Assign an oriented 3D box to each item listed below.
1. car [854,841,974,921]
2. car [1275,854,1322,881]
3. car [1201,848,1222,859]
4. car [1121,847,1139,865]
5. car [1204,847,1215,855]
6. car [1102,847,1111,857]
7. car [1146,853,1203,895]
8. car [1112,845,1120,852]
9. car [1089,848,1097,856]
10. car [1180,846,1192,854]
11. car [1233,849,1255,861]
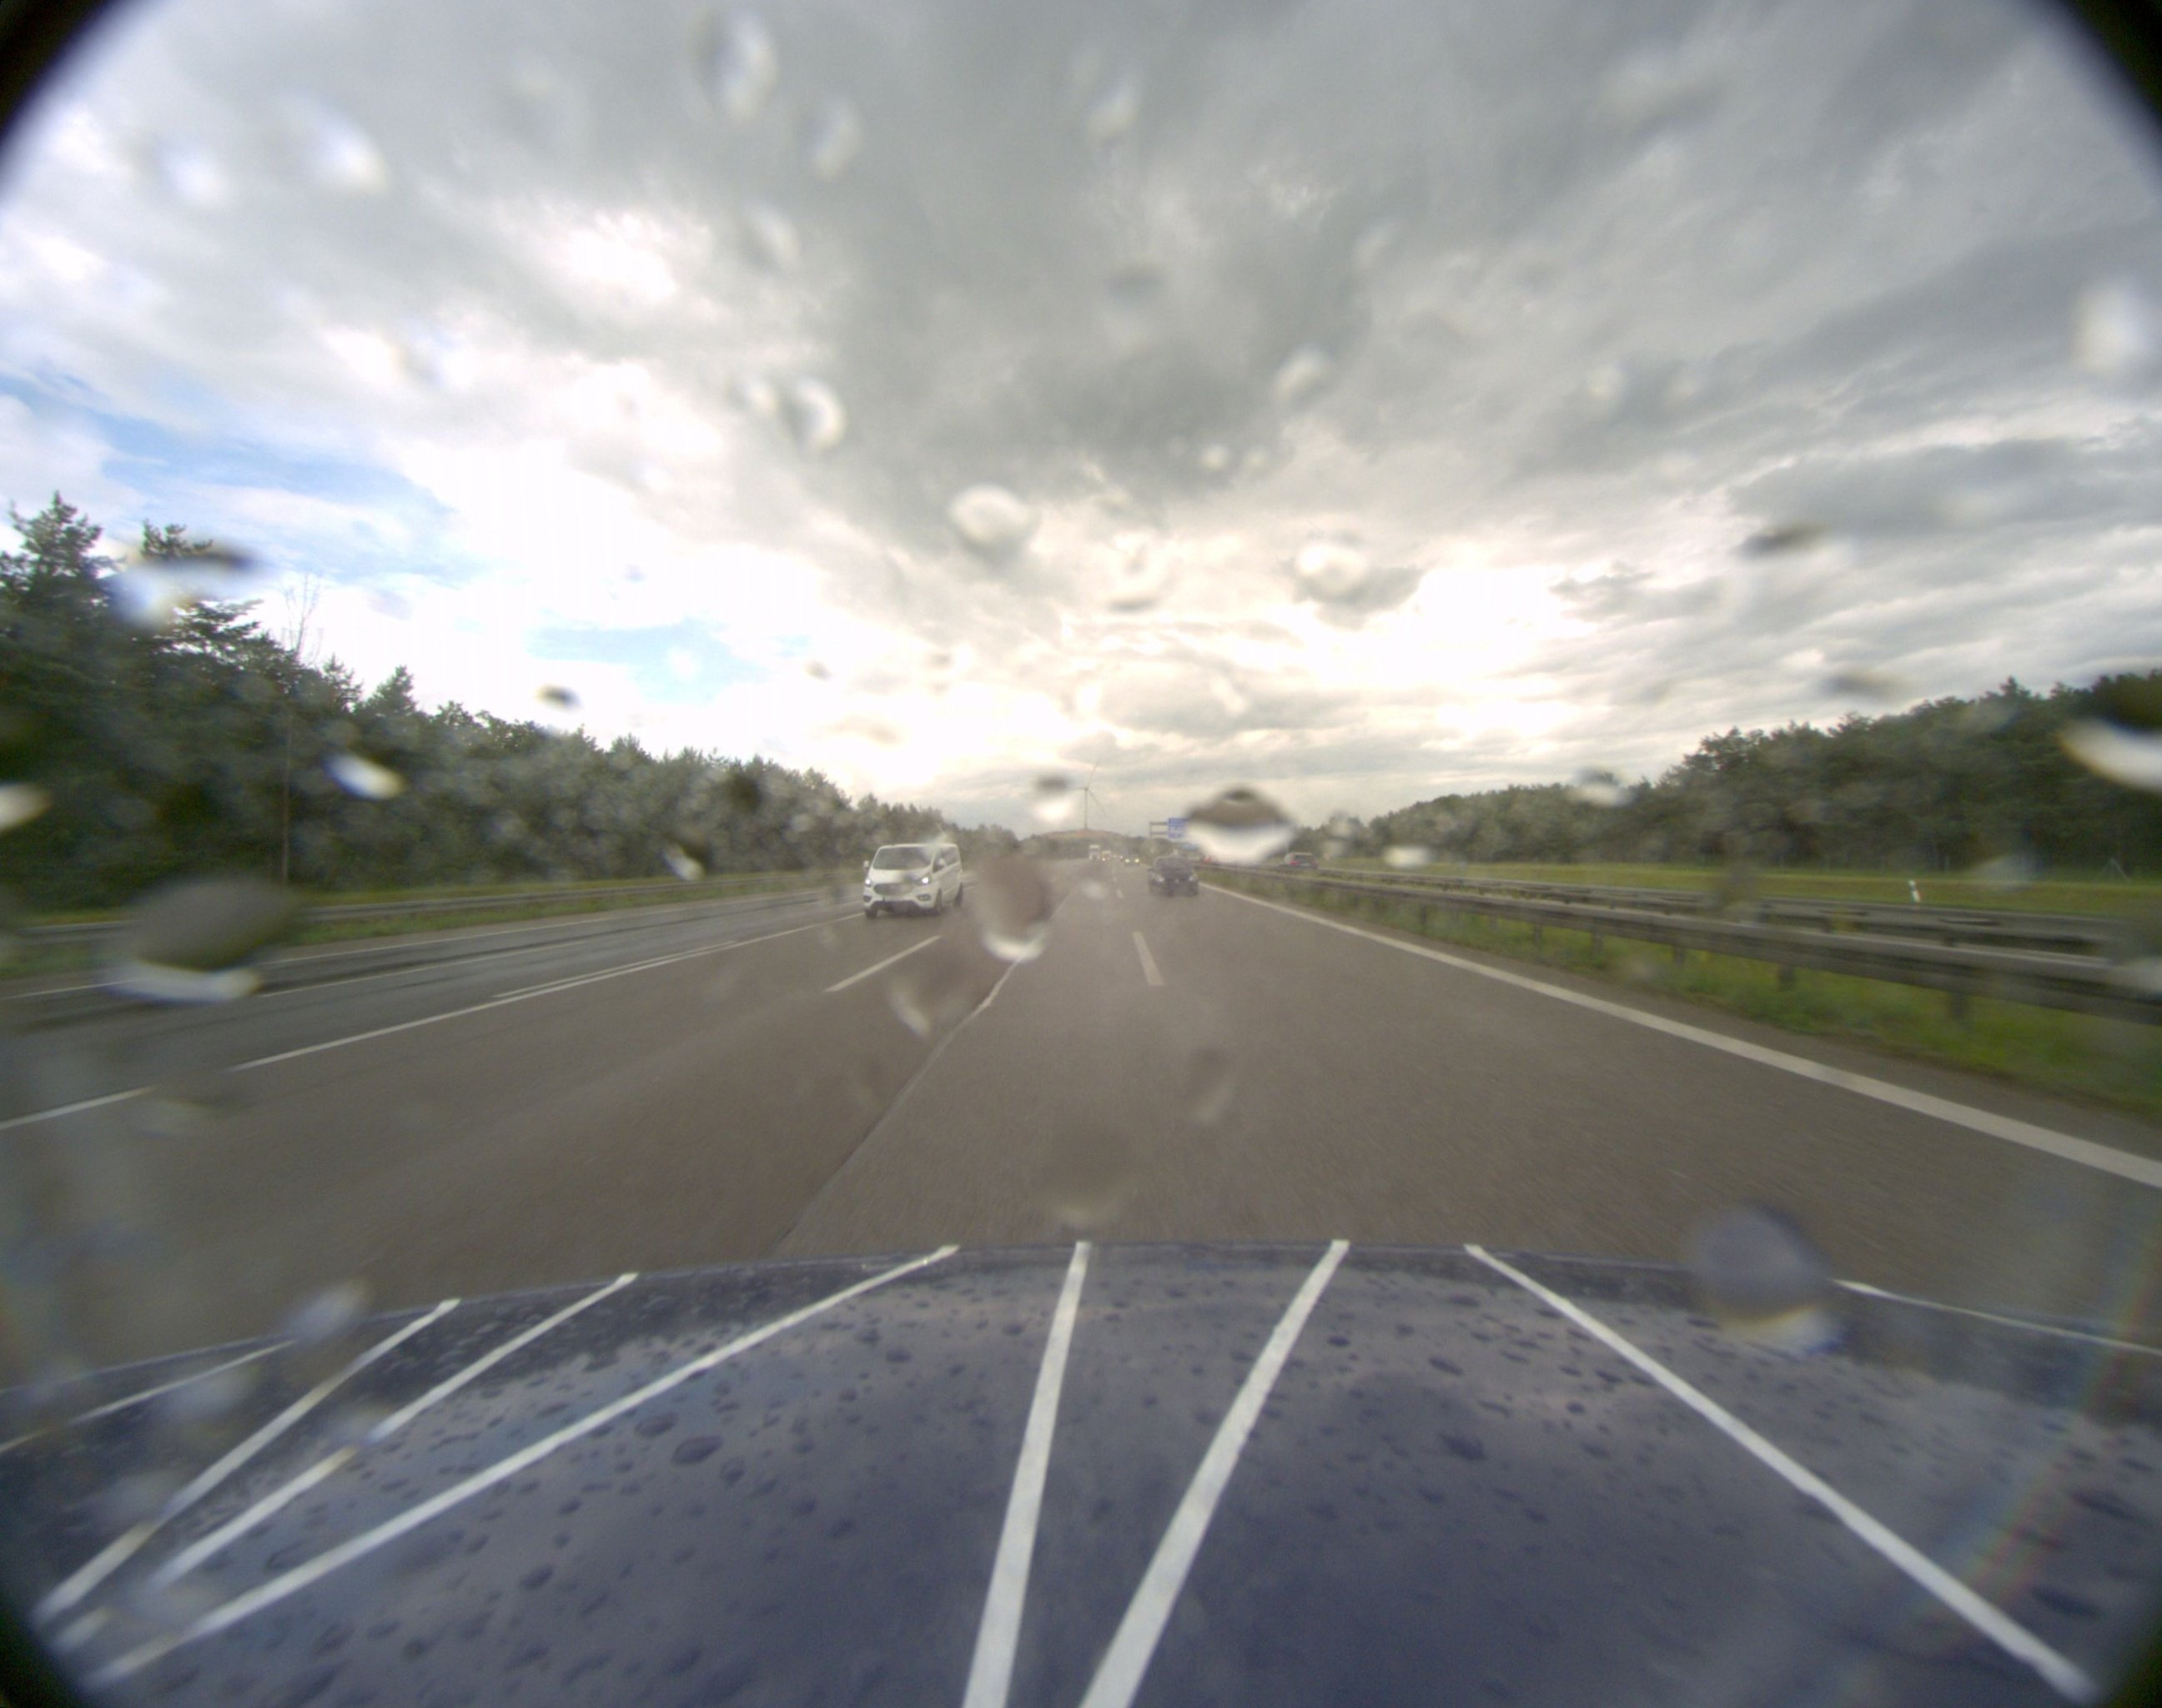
[{"bbox_3d":[-4.694,0.684,22.309,1.998,2.002,5.483,-2,0,3],"label":"car"},{"bbox_3d":[14.403,0.836,50.498,1.864,1.652,4.471,-1,0,0],"label":"car"},{"bbox_3d":[16.211,-0.080,94.733,1.921,1.357,4.652,-1,0,2],"label":"car"},{"bbox_3d":[6.011,0.240,93.620,1.998,2.002,4.000,-2,1,2],"label":"car"},{"bbox_3d":[24.139,-0.615,142.537,1.641,1.463,4.401,-1,1,4],"label":"car"},{"bbox_3d":[5.735,-0.459,172.445,1.998,2.002,3.999,-1,1,0],"label":"car"},{"bbox_3d":[3.420,0.698,28.522,1.809,1.321,4.431,-2,1,3],"label":"car"},{"bbox_3d":[10.532,-1.578,228.242,1.998,2.002,3.999,-1,1,0],"label":"car"},{"bbox_3d":[3.013,-0.573,187.607,1.998,2.002,3.999,-1,1,0],"label":"car"},{"bbox_3d":[20.641,-0.877,149.393,1.998,1.463,4.117,-3,1,4],"label":"car"},{"bbox_3d":[20.655,0.099,96.571,1.921,1.448,4.652,-1,0,2],"label":"car"}]
